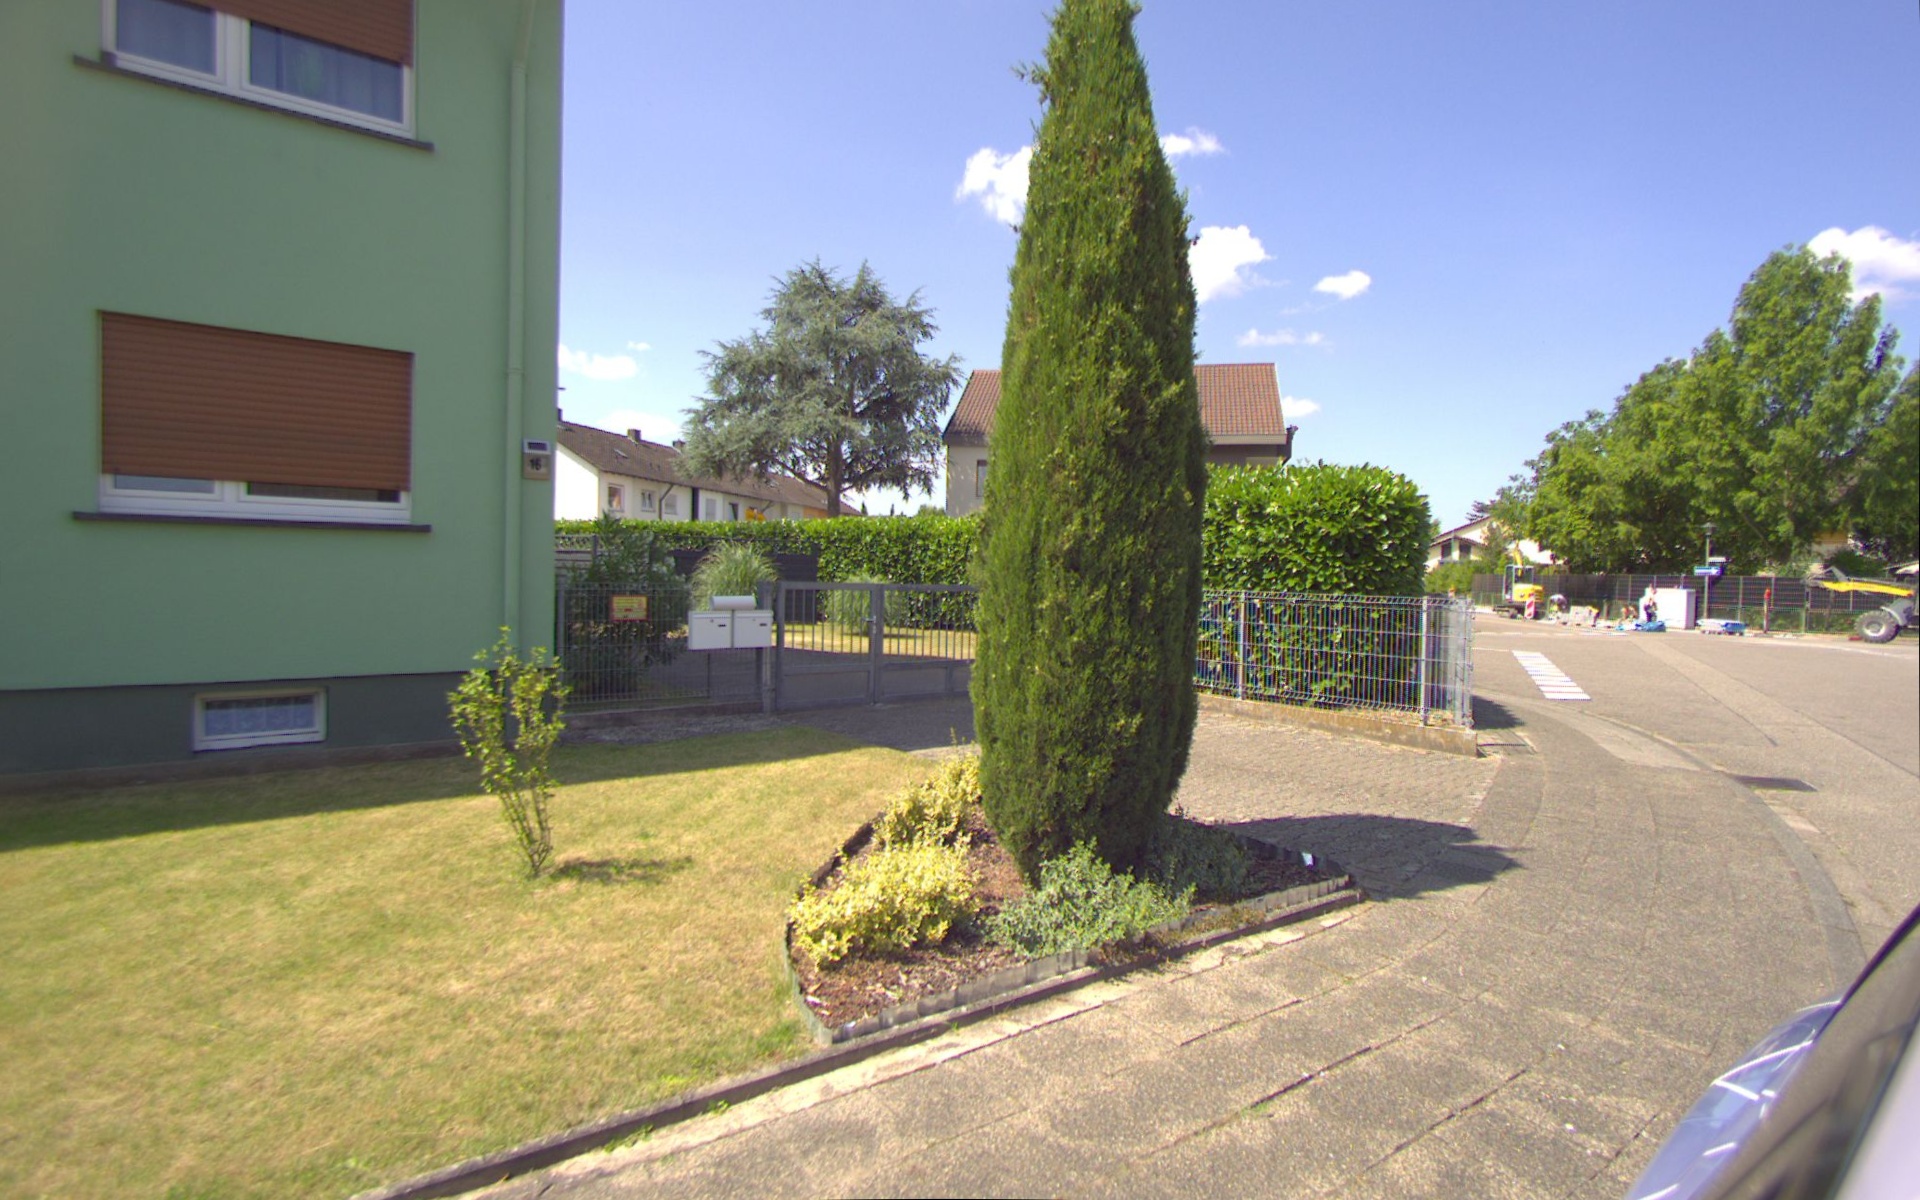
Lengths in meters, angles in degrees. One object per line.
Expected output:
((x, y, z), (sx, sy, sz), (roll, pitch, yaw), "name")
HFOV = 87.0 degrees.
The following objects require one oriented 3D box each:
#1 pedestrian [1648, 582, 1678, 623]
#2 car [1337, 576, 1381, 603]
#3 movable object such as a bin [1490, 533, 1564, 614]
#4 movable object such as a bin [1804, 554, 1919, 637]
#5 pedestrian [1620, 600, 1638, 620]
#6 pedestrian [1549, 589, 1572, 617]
((26.383, 0.082, 37.972), (0.848, 1.533, 0.524), (2, 1, 42), "pedestrian")
((25.721, -0.705, 65.346), (1.891, 1.561, 3.987), (2, 2, 12), "car")
((26.699, -1.268, 47.815), (1.971, 3.609, 3.800), (2, 2, 14), "movable object such as a bin")
((29.279, -0.116, 30.901), (1.967, 2.483, 5.218), (3, 0, -45), "movable object such as a bin")
((26.557, 0.391, 40.180), (0.513, 0.803, 0.431), (0, 2, -39), "pedestrian")
((26.360, 0.125, 44.416), (0.808, 1.183, 0.512), (0, 1, -28), "pedestrian")
